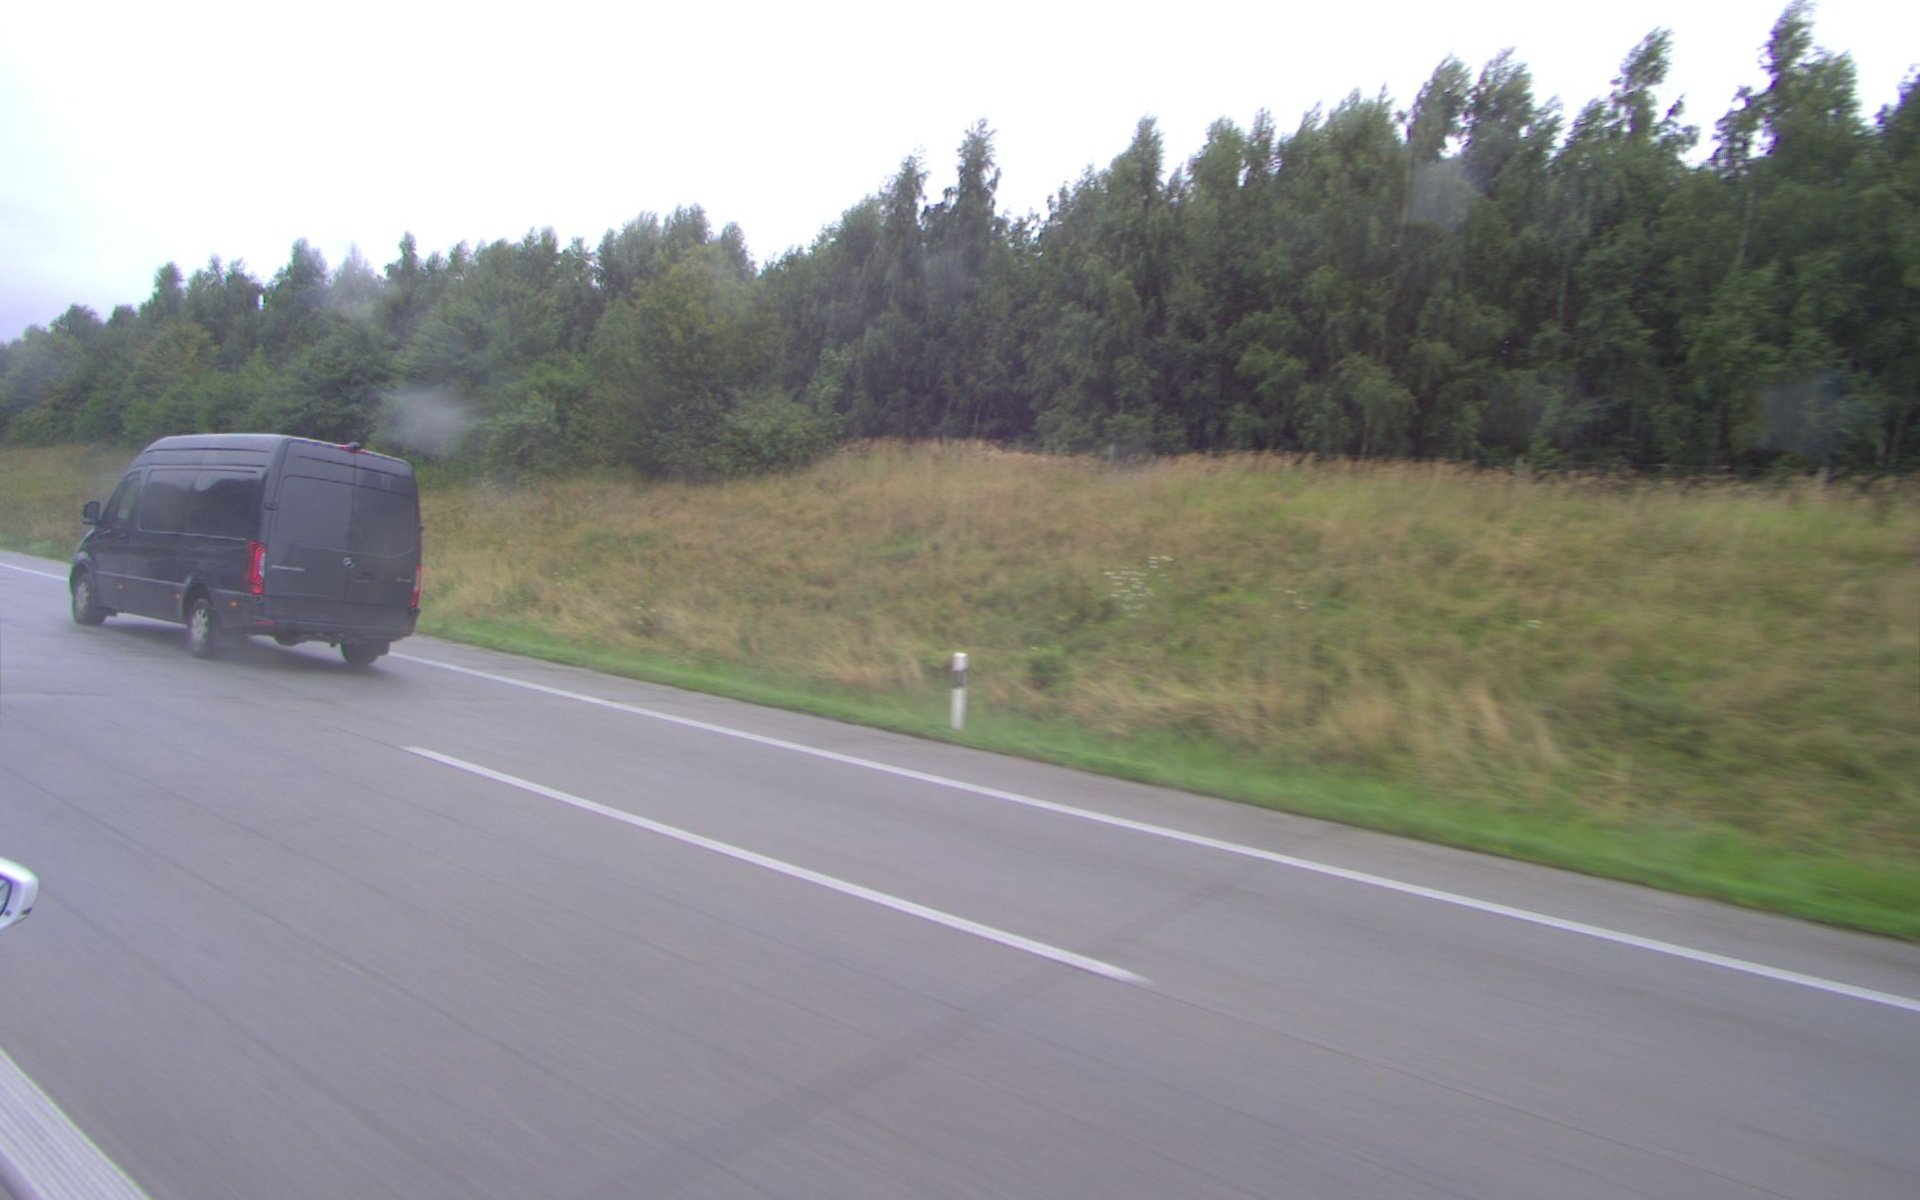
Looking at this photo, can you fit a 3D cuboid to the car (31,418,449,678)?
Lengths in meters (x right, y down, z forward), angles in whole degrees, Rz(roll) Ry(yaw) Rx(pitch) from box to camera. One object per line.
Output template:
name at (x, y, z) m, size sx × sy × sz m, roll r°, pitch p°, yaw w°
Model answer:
car at (-9.603, -0.797, 13.156) m, size 6.478 × 2.690 × 1.944 m, roll 7°, pitch -1°, yaw 33°
